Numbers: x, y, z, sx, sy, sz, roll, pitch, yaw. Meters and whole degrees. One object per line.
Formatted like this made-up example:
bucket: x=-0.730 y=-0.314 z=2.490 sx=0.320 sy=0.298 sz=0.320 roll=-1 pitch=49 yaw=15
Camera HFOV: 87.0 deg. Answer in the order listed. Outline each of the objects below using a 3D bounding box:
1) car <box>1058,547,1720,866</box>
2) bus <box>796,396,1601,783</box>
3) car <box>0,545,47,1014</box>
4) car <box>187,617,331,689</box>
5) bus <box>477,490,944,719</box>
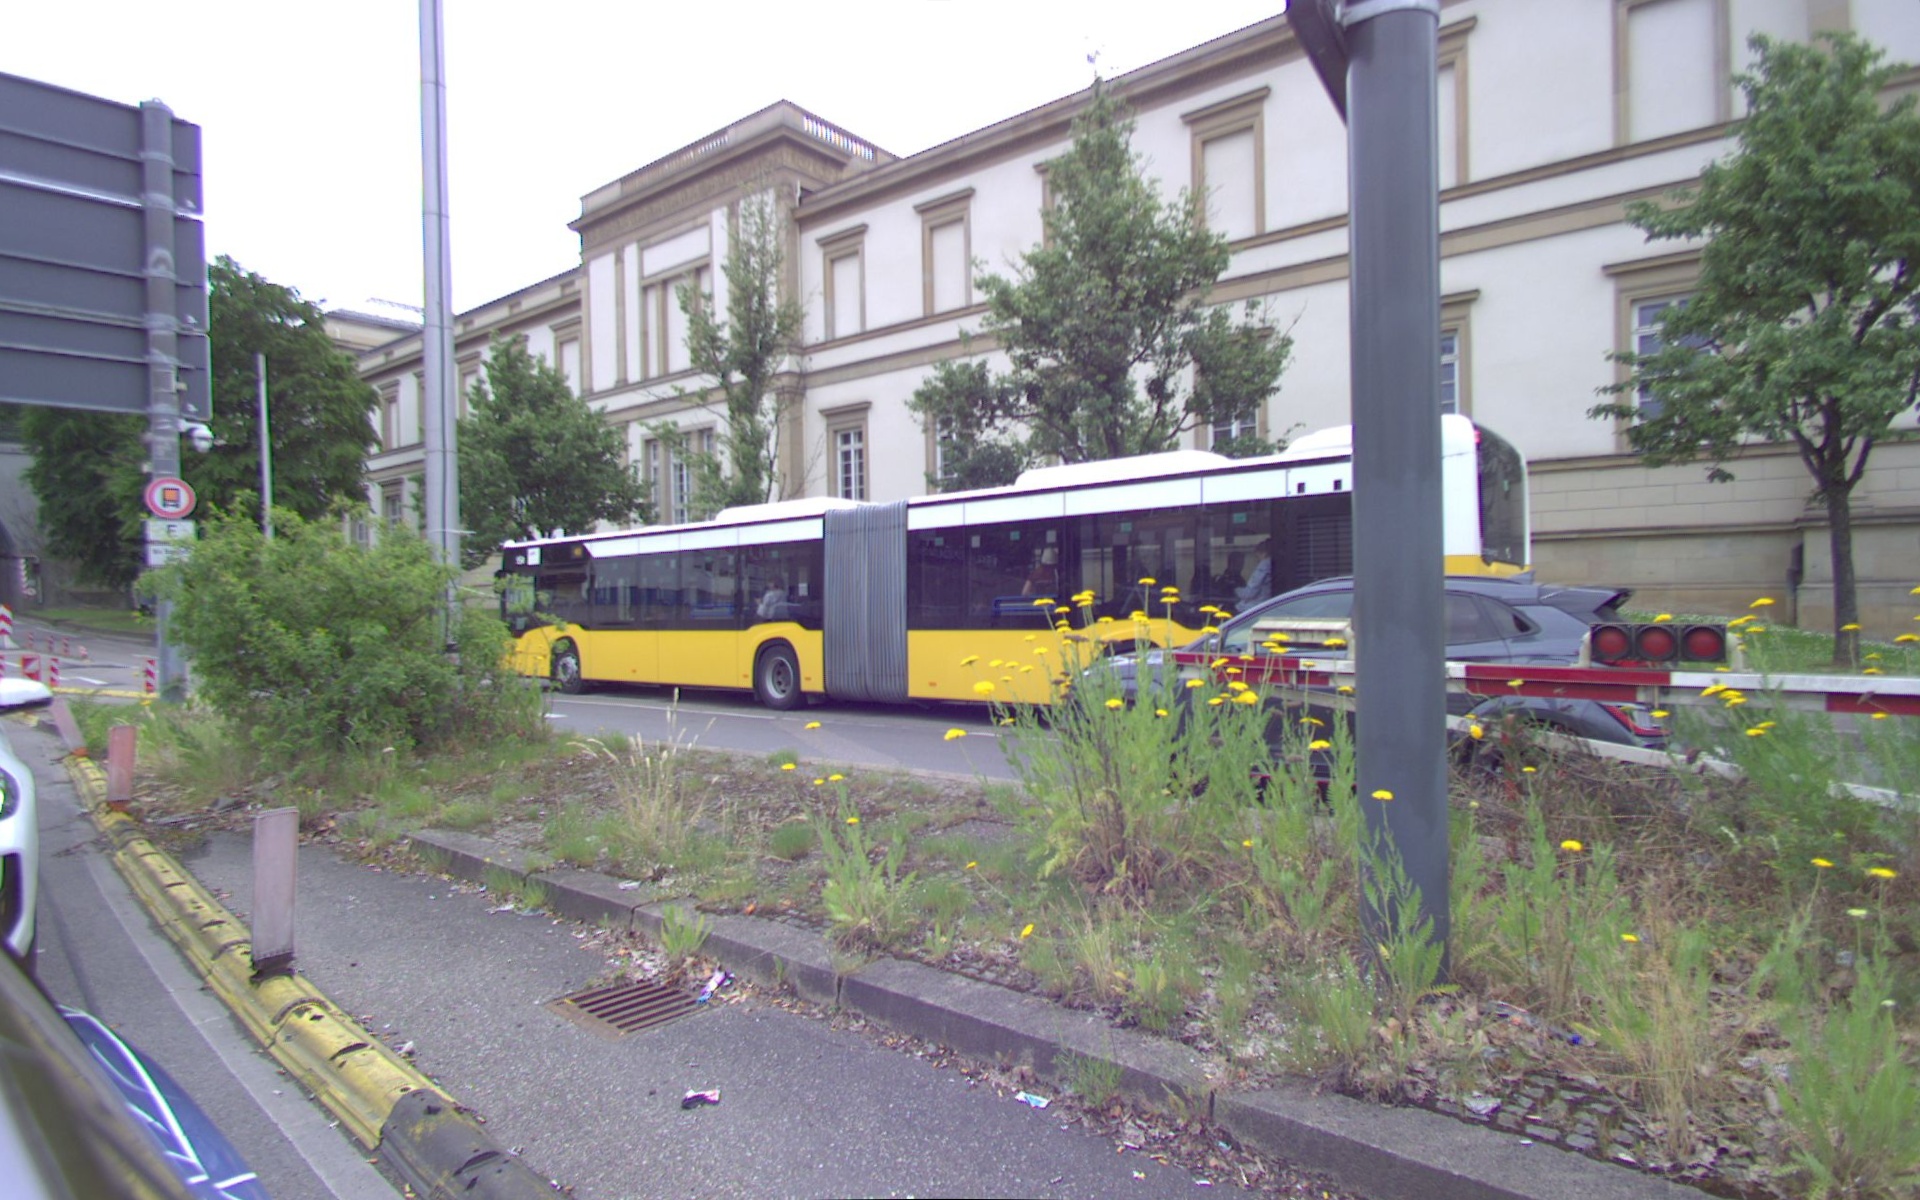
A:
car: x=2.765 y=0.557 z=6.975 sx=3.879 sy=1.601 sz=1.680 roll=-1 pitch=0 yaw=40
bus: x=2.152 y=-0.022 z=12.205 sx=9.113 sy=3.137 sz=2.817 roll=-1 pitch=0 yaw=40
car: x=-5.256 y=0.666 z=4.176 sx=3.881 sy=1.603 sz=1.824 roll=-2 pitch=0 yaw=42
car: x=-16.315 y=1.180 z=23.471 sx=4.285 sy=1.525 sz=1.689 roll=-1 pitch=-2 yaw=40
bus: x=-4.925 y=0.133 z=18.083 sx=9.739 sy=3.137 sz=2.817 roll=-1 pitch=0 yaw=40
